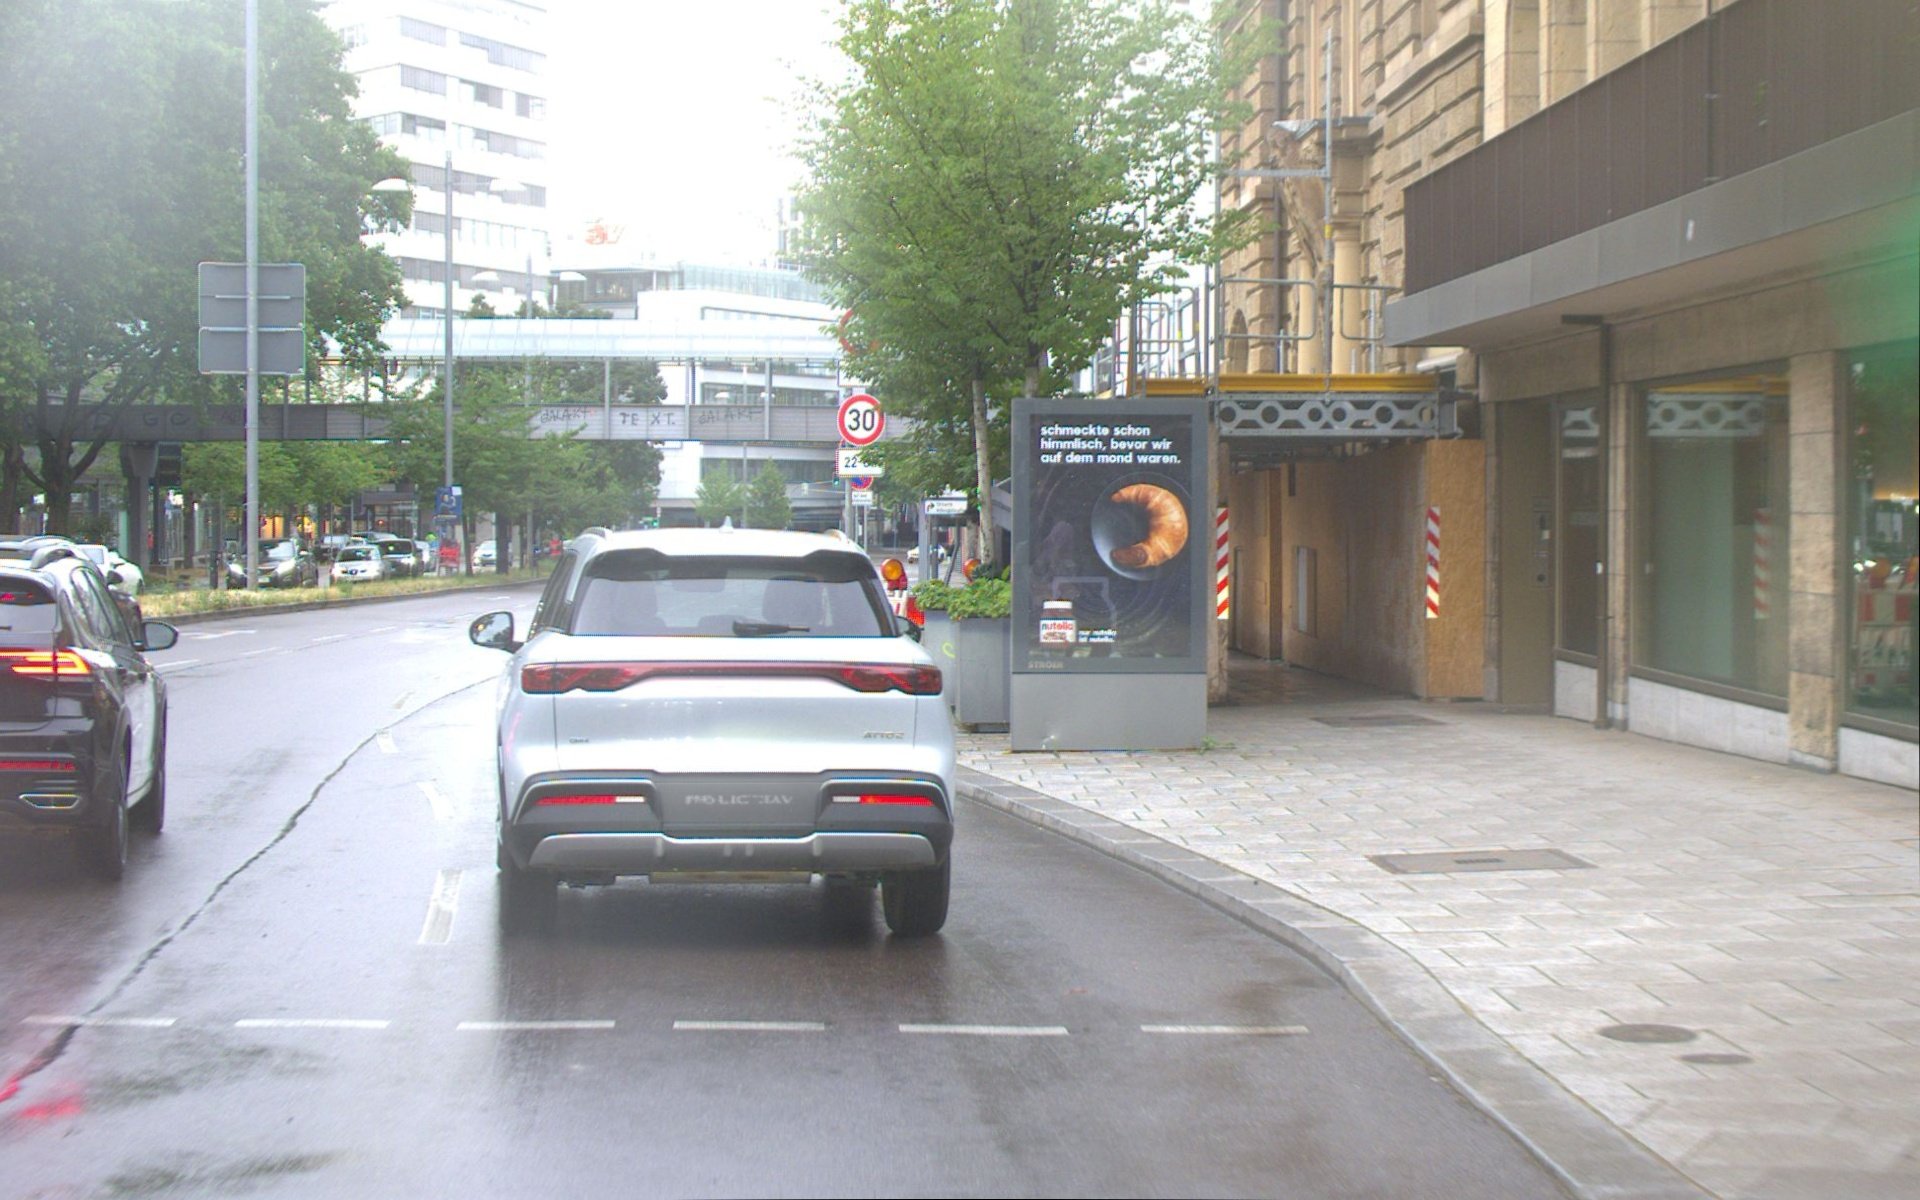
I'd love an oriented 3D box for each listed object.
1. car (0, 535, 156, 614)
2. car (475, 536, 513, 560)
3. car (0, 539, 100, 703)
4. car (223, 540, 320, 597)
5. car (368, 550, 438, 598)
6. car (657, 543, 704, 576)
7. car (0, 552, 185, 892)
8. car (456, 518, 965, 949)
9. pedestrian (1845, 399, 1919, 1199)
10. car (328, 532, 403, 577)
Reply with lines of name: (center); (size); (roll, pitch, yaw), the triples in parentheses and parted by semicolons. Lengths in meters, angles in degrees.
car: (-16.758, -0.472, 65.298); (1.860, 1.437, 4.313); (1, 0, 1)
car: (-26.870, -2.995, 198.201); (1.596, 1.355, 4.116); (1, 0, 0)
car: (-10.102, 0.162, 35.370); (1.811, 1.573, 4.001); (1, 1, -5)
car: (-17.773, -0.807, 88.900); (1.700, 1.432, 4.582); (1, 0, -1)
car: (-19.752, -0.919, 122.147); (1.874, 1.674, 4.681); (1, 0, -2)
car: (-11.838, -1.740, 145.527); (1.653, 1.337, 4.000); (1, 1, 0)
car: (-4.806, 0.507, 16.580); (1.773, 1.452, 4.001); (1, 0, -8)
car: (-1.150, 0.499, 14.965); (1.901, 1.616, 4.001); (1, 0, -6)
pedestrian: (2.384, 0.479, 7.513); (0.589, 1.828, 0.629); (1, 0, -28)
car: (-18.483, -1.409, 106.992); (1.596, 1.355, 4.116); (1, 0, 0)
